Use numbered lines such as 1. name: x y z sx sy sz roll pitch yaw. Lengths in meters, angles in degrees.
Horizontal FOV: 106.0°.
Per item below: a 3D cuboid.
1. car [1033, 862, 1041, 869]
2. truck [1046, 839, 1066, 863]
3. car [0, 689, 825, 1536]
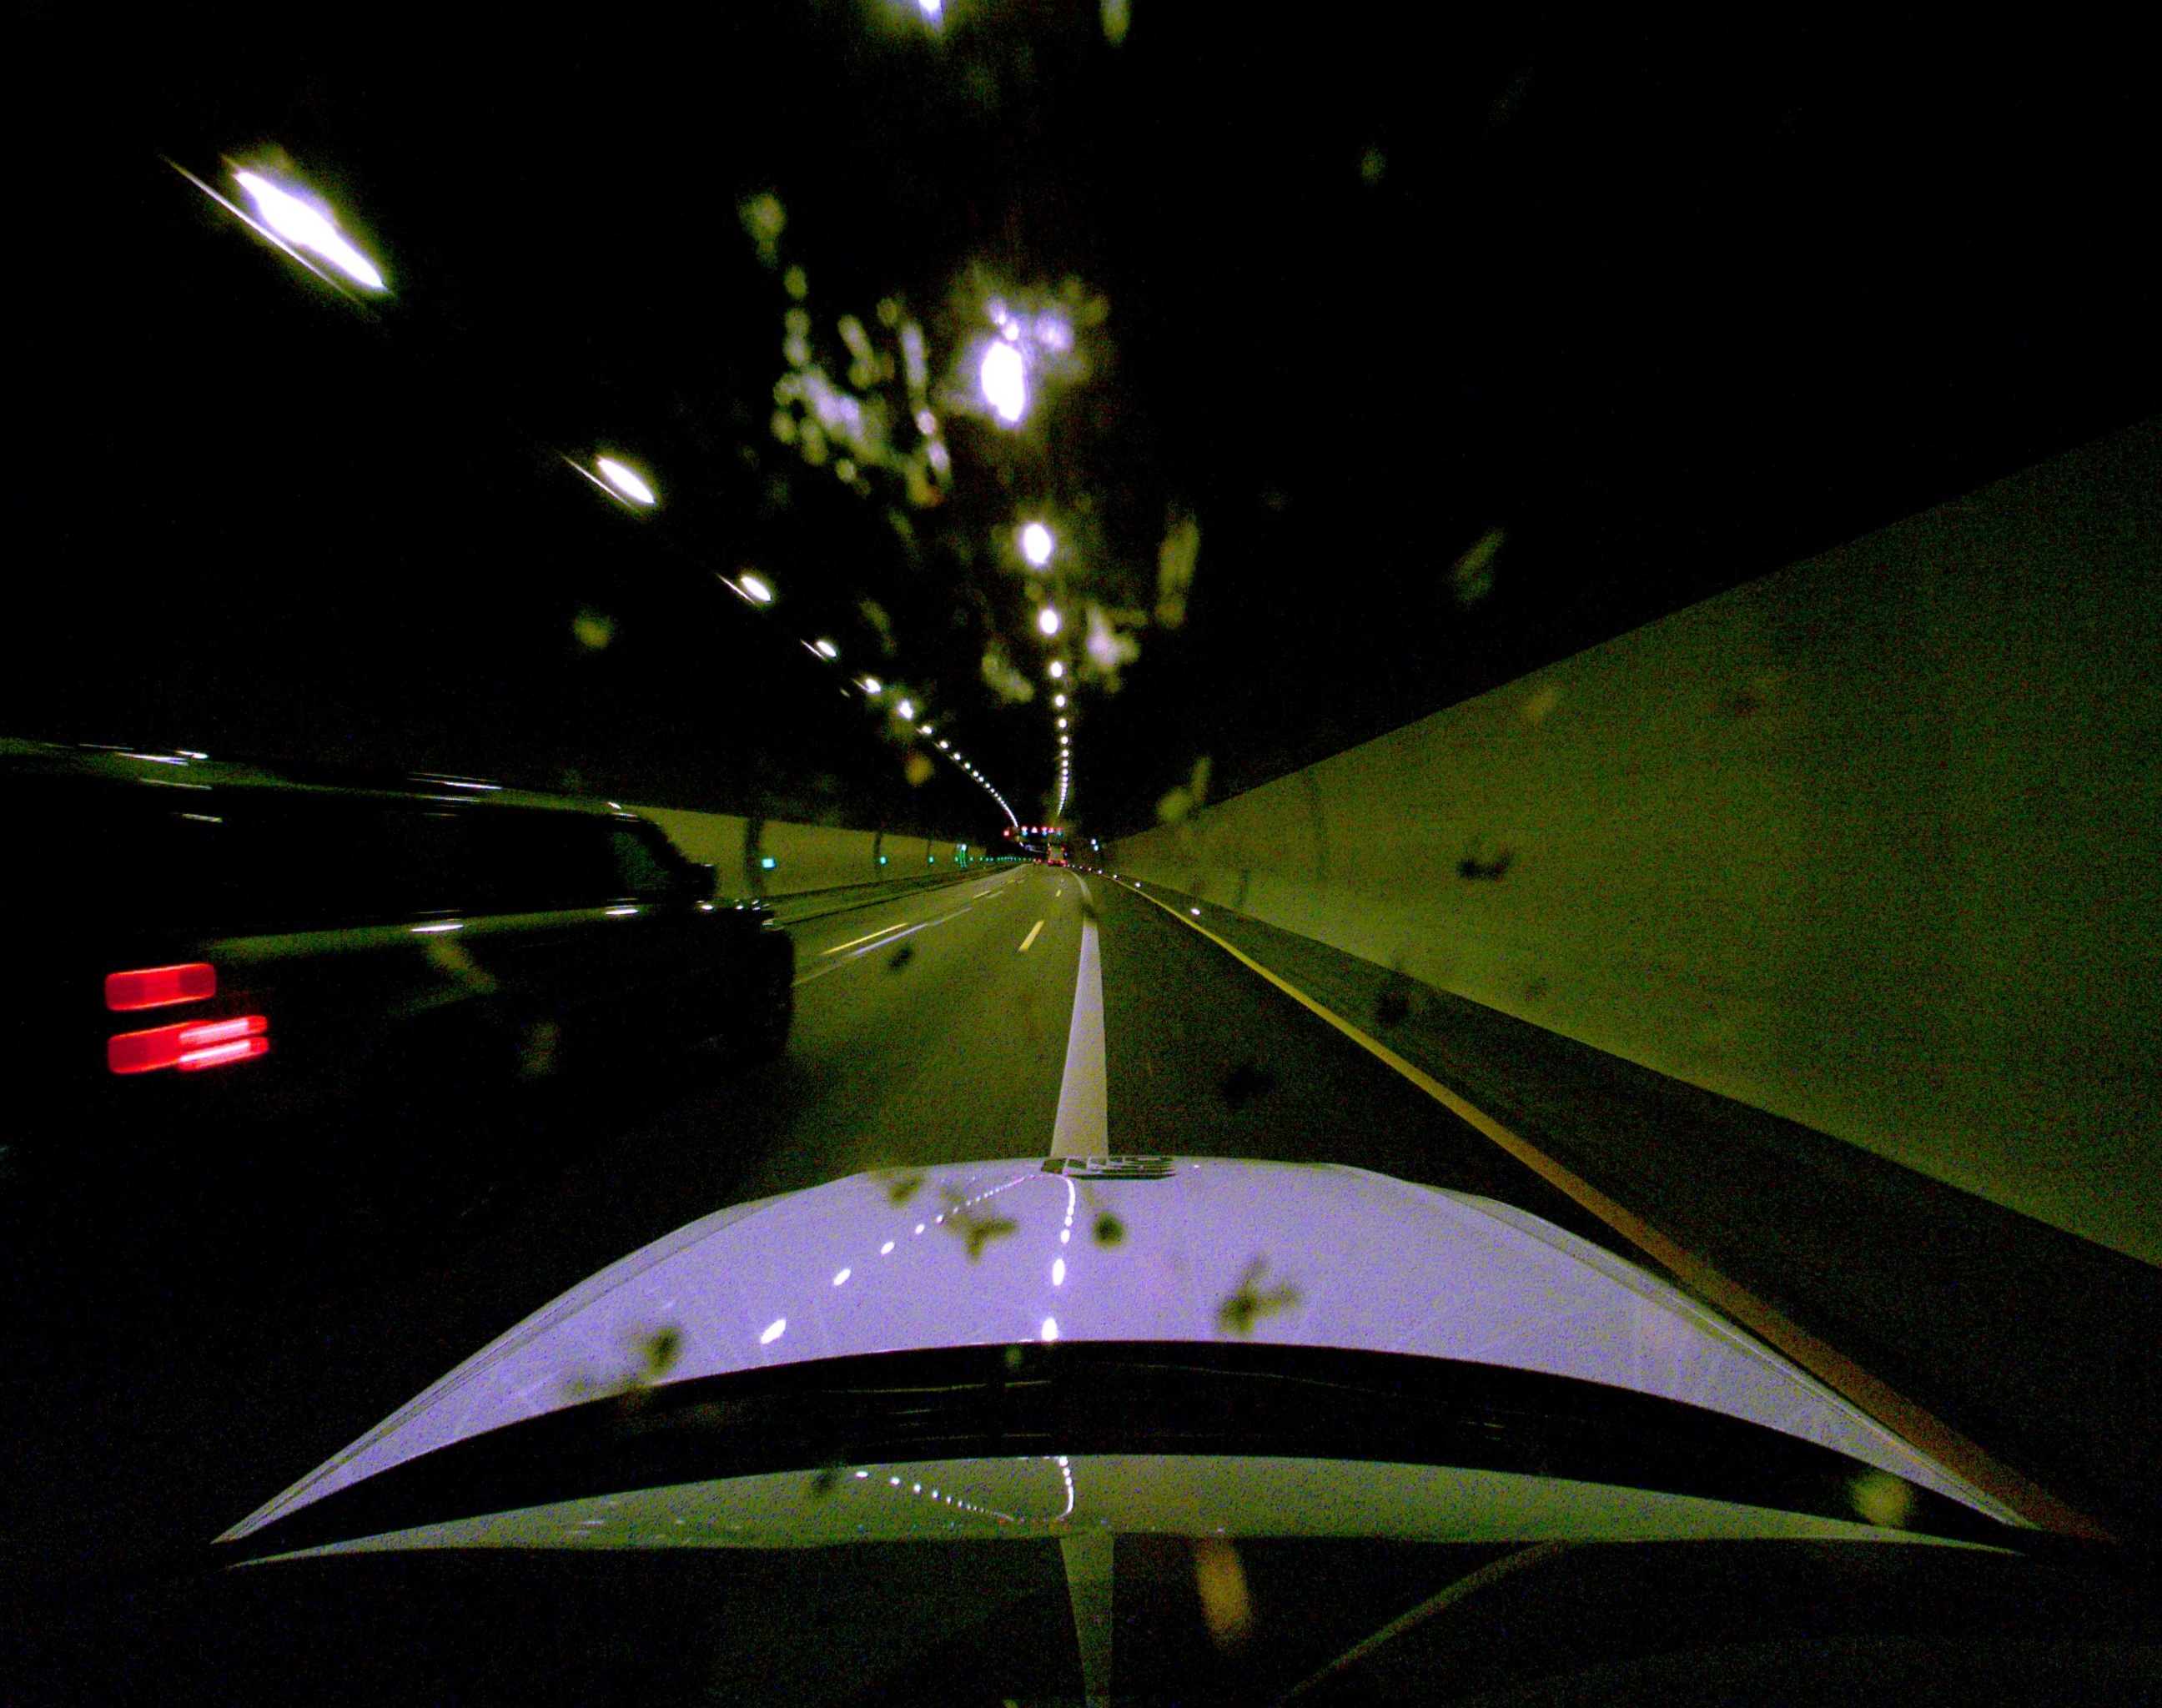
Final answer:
1. car: -10.968 2.844 203.824 1.990 1.582 3.994 -1 0 -4
2. truck: -4.963 -0.565 160.202 3.466 4.316 10.938 -1 0 -3
3. car: -3.350 0.599 4.552 1.986 1.895 5.454 -1 0 1
